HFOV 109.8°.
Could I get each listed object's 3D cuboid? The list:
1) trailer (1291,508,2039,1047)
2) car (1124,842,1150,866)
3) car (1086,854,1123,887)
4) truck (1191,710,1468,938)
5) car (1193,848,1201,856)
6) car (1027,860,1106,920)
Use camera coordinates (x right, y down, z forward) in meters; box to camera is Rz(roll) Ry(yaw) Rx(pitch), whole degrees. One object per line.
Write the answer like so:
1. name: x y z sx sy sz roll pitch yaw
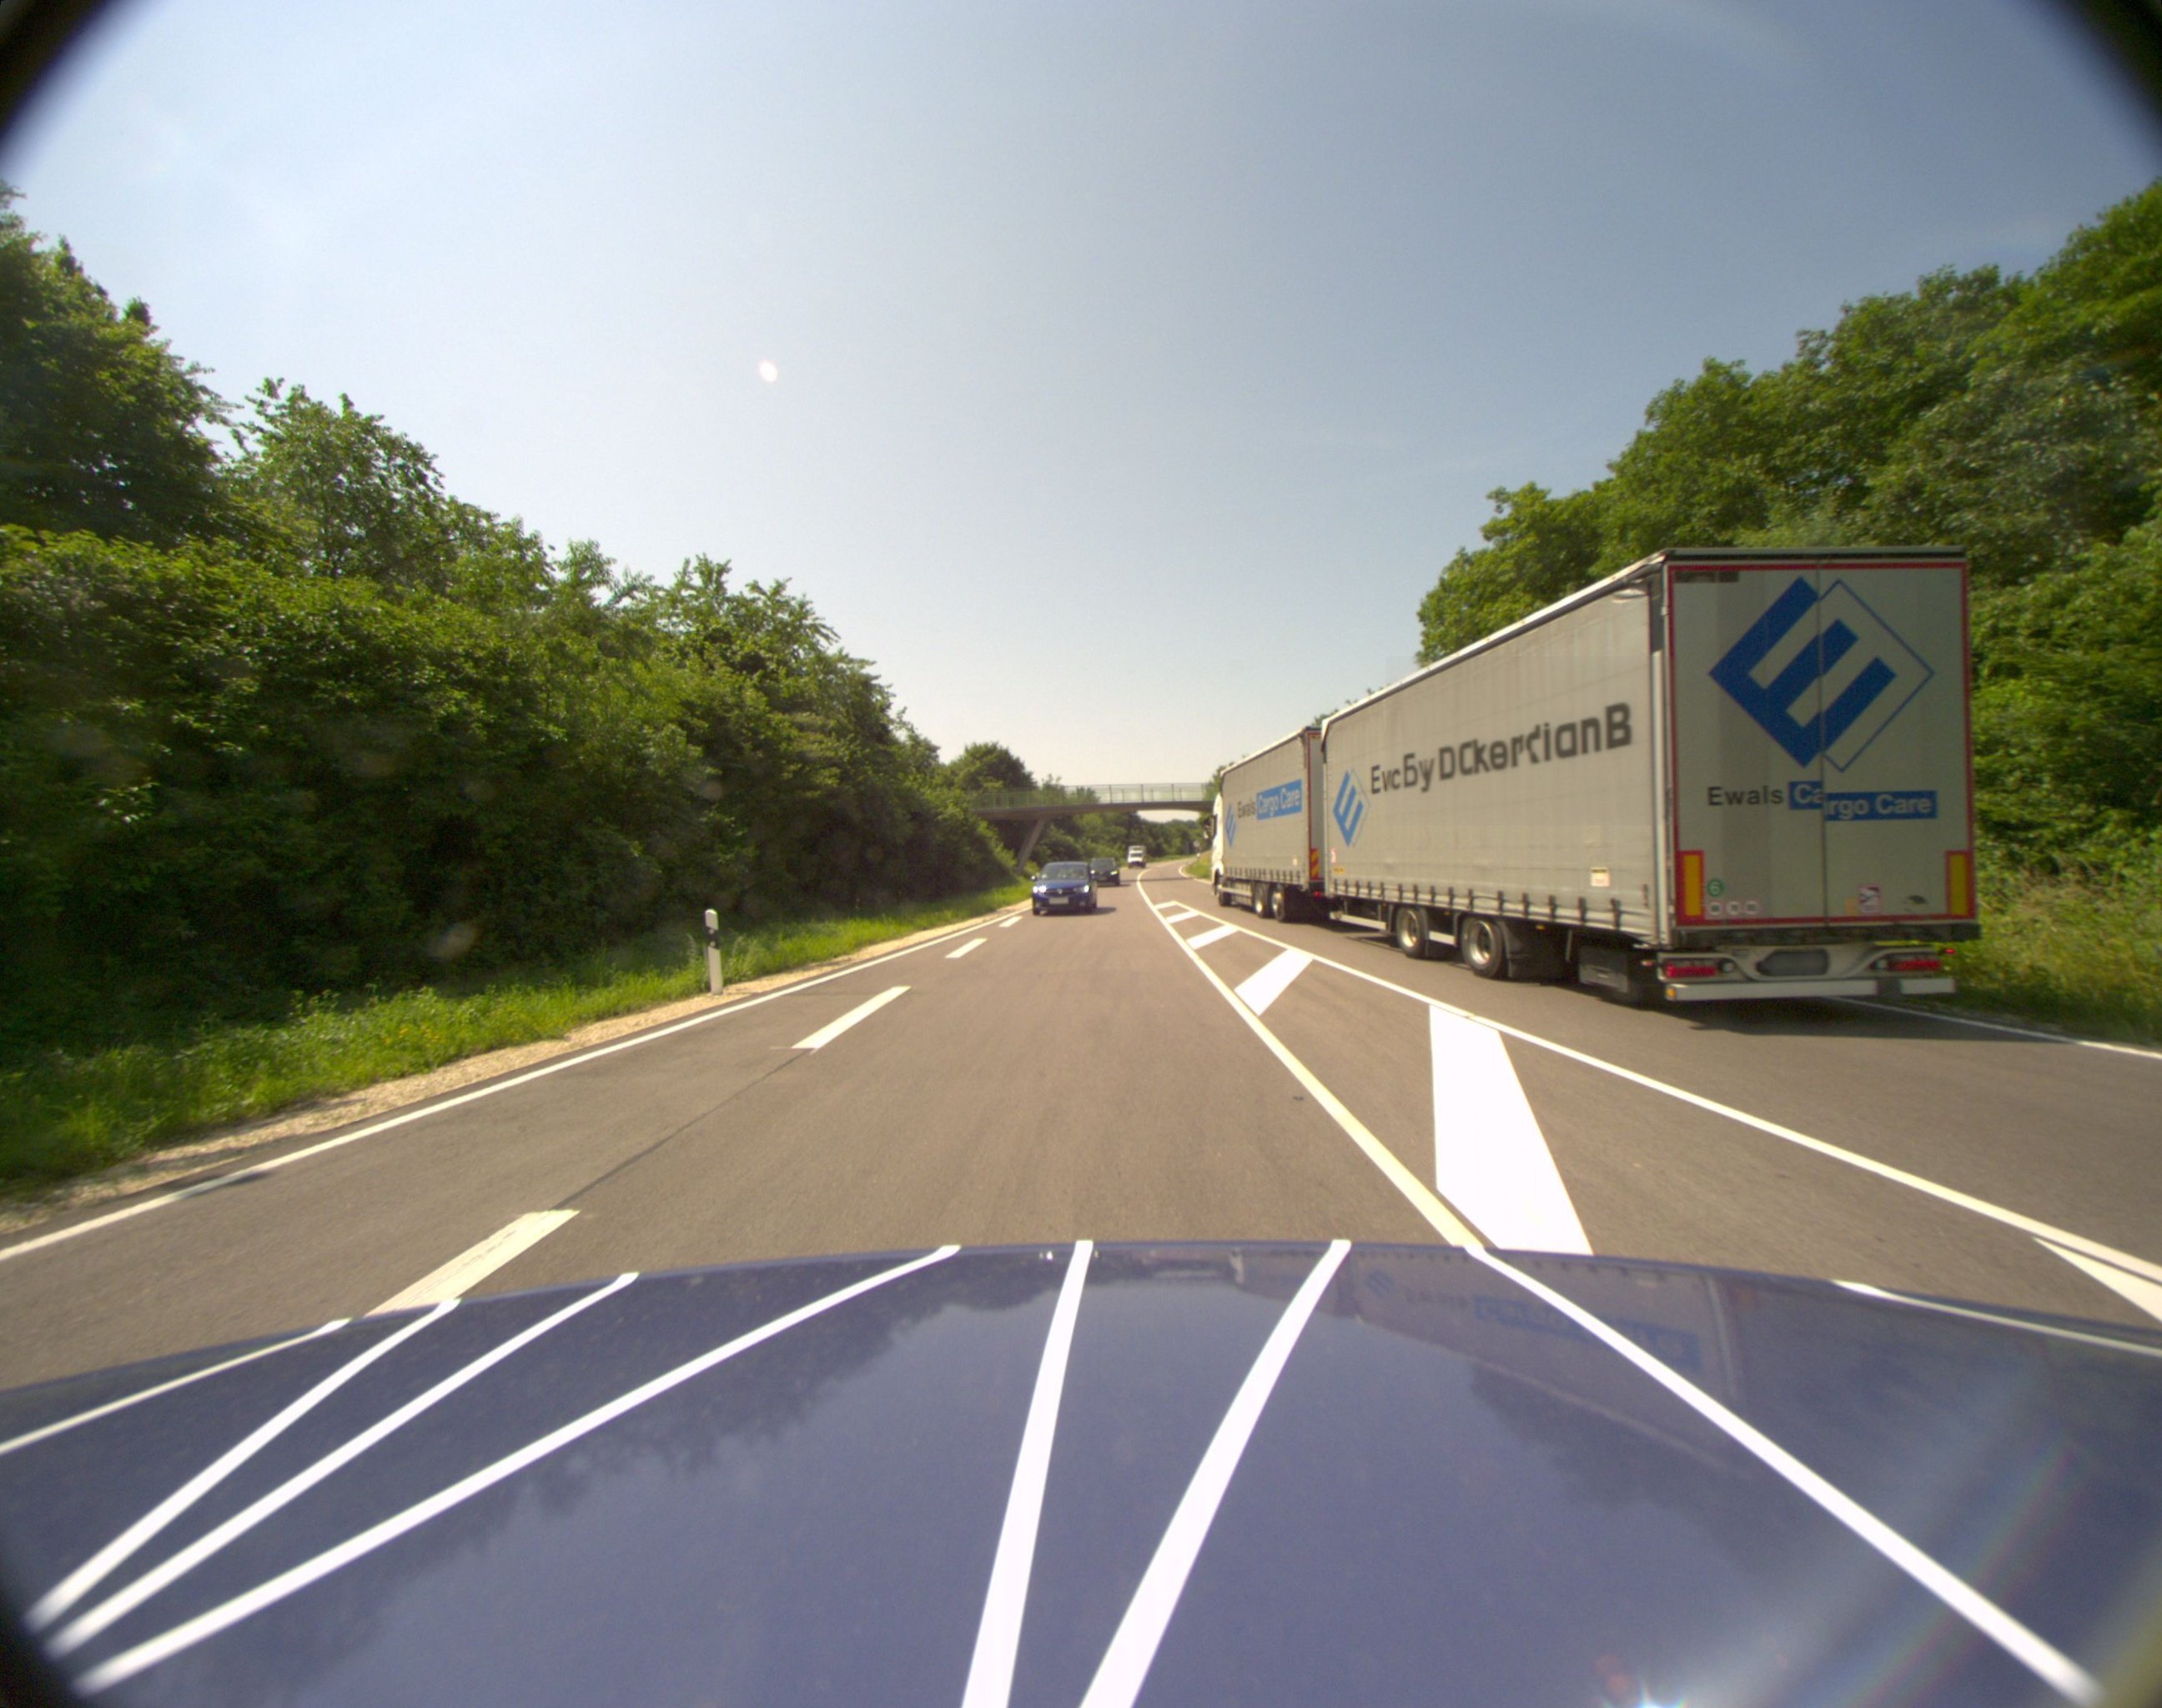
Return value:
1. trailer: 5.794 -0.588 10.359 2.836 4.071 8.998 -2 0 -3
2. car: 7.537 -0.040 101.162 2.590 3.046 6.886 -2 0 10
3. car: 1.442 0.925 45.046 1.923 1.711 5.480 -2 0 4
4. truck: 5.356 -0.518 19.407 2.806 4.071 11.060 -2 0 -3
5. car: 29.740 -0.553 194.453 1.974 2.020 5.402 -2 0 9
6. car: -0.337 1.022 23.022 1.807 1.532 3.947 -2 0 7
